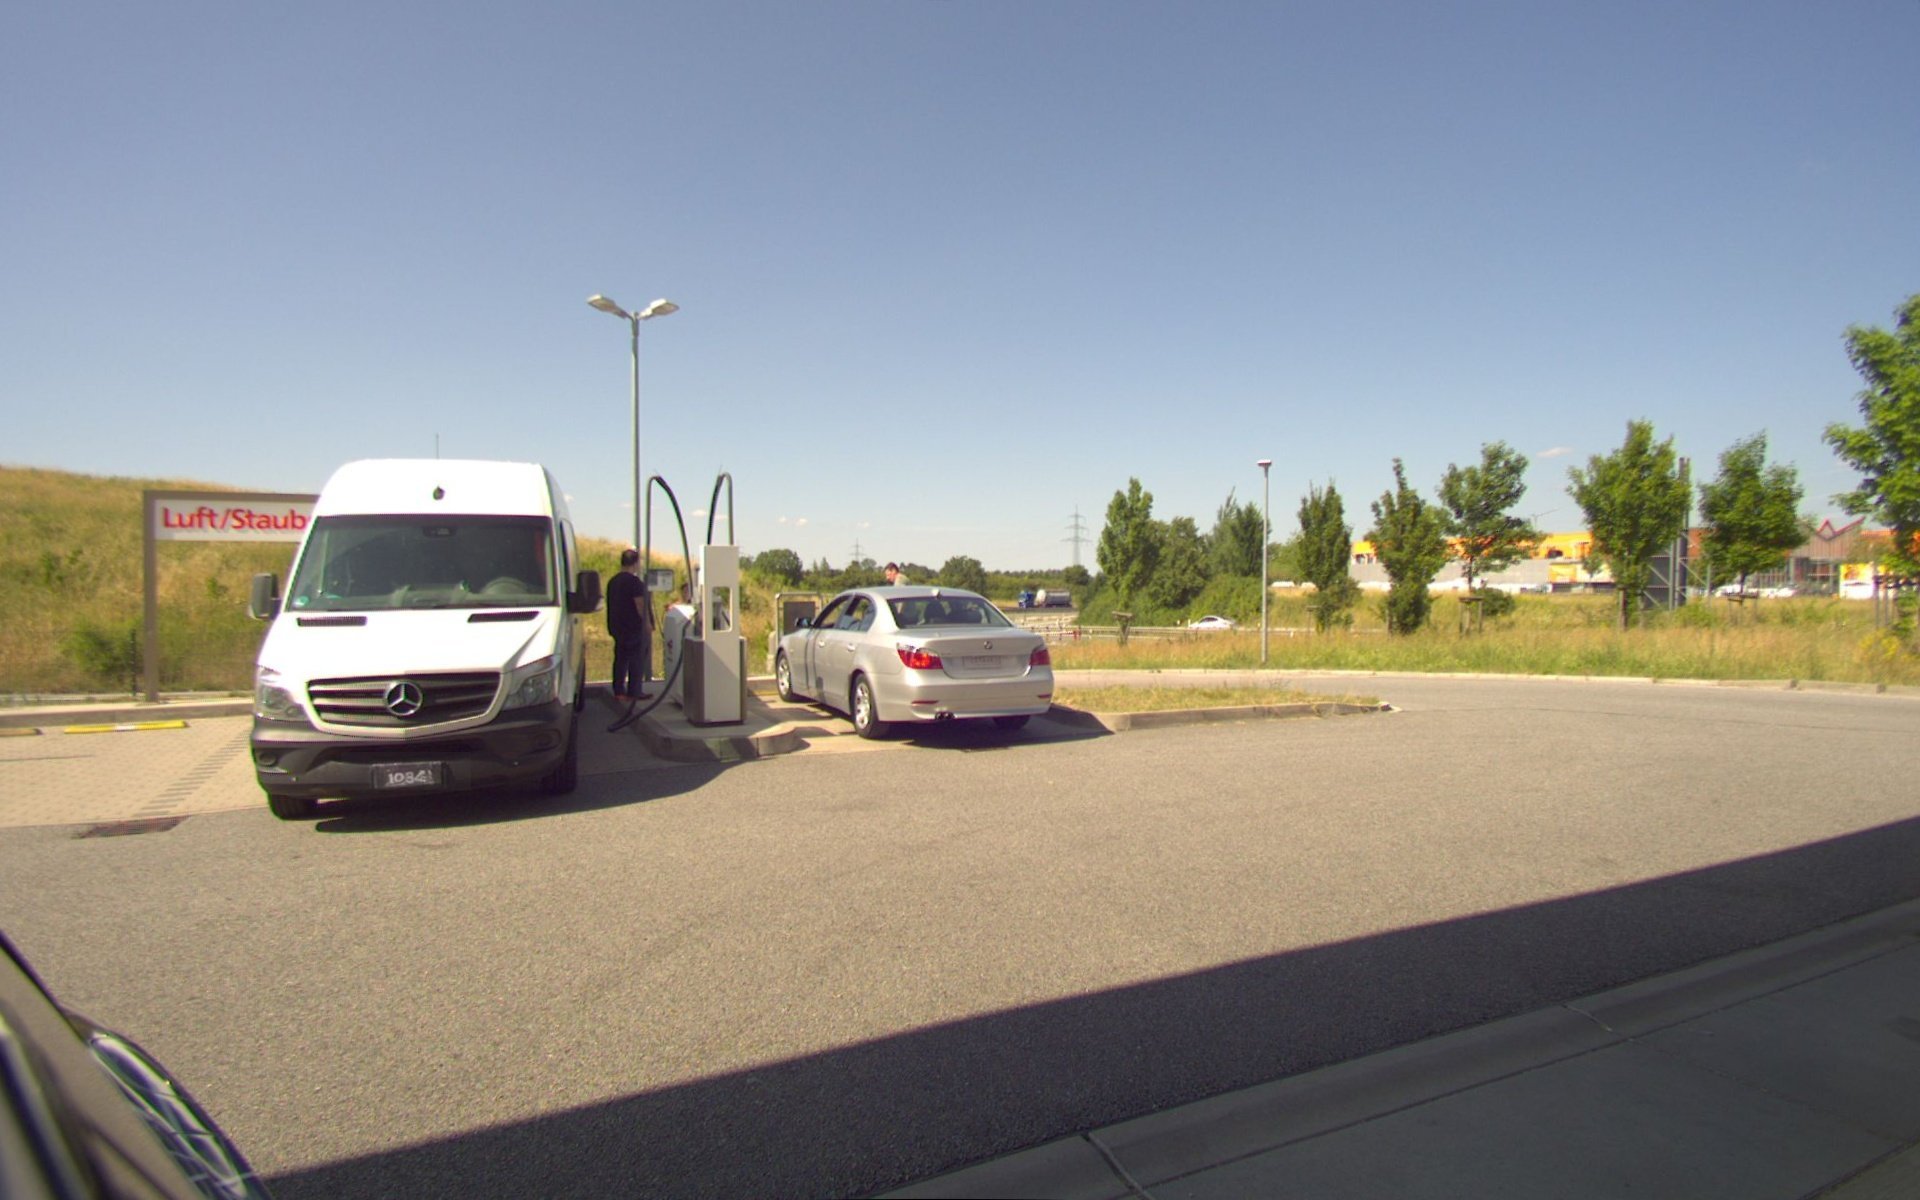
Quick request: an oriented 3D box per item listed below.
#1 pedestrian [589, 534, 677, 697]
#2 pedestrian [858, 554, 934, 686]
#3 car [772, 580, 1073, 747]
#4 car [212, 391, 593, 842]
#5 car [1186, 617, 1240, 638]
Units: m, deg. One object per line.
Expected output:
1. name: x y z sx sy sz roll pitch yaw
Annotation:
1. pedestrian: -3.697 0.165 11.509 0.700 1.783 0.844 0 0 2
2. pedestrian: -0.886 0.266 14.009 0.830 1.762 0.711 0 0 -26
3. car: -0.651 0.503 11.098 1.762 1.439 4.336 -1 1 -25
4. car: -4.510 -0.040 9.447 1.965 2.590 7.055 0 2 -19
5. car: 19.660 2.092 78.696 1.864 1.530 4.013 0 0 -28
